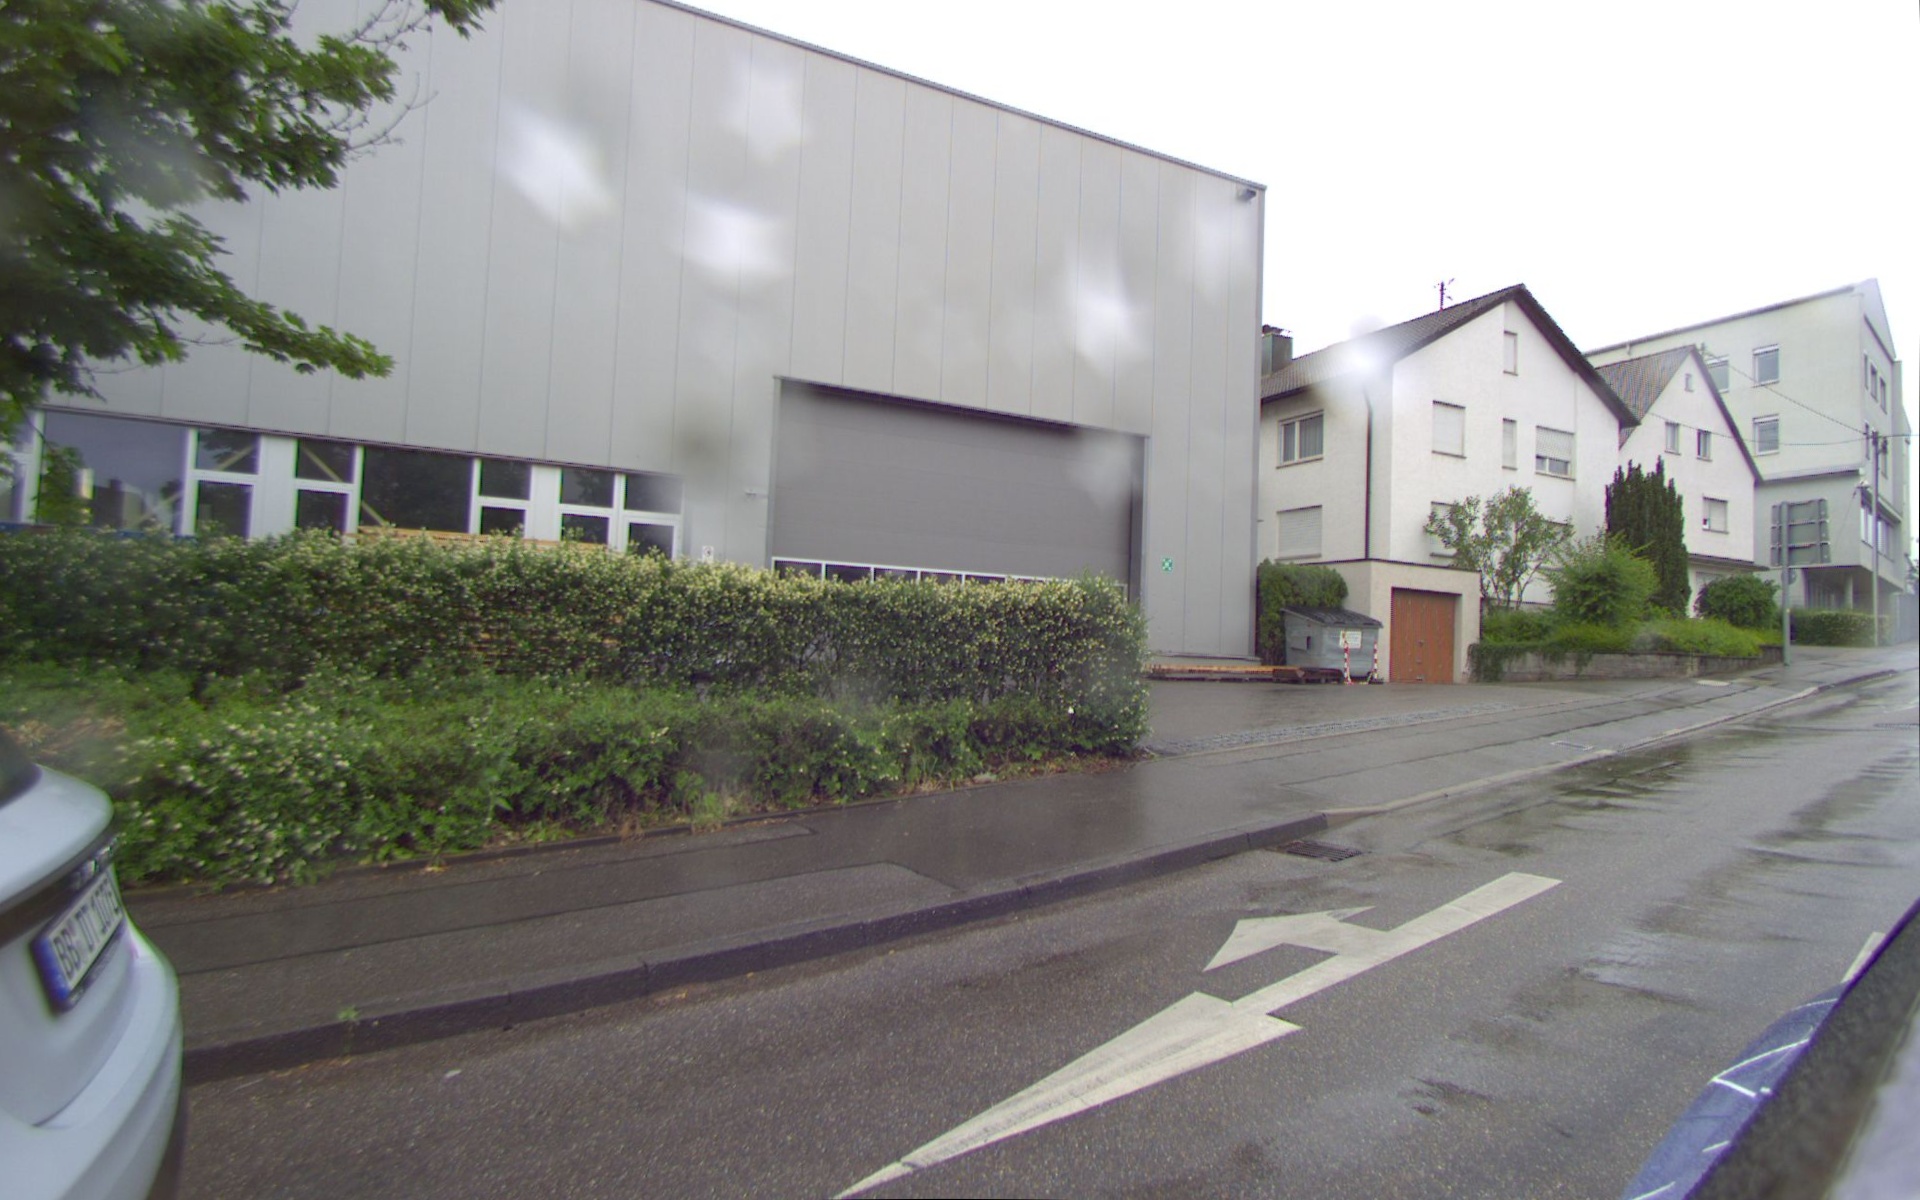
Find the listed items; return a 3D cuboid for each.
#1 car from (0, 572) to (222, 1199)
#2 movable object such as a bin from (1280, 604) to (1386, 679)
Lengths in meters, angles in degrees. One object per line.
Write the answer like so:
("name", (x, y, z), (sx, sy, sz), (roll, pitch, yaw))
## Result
("car", (-3.135, 0.697, 0.901), (3.829, 1.574, 1.695), (2, -1, -32))
("movable object such as a bin", (8.038, 0.882, 21.859), (1.556, 1.555, 1.451), (2, -1, -25))
